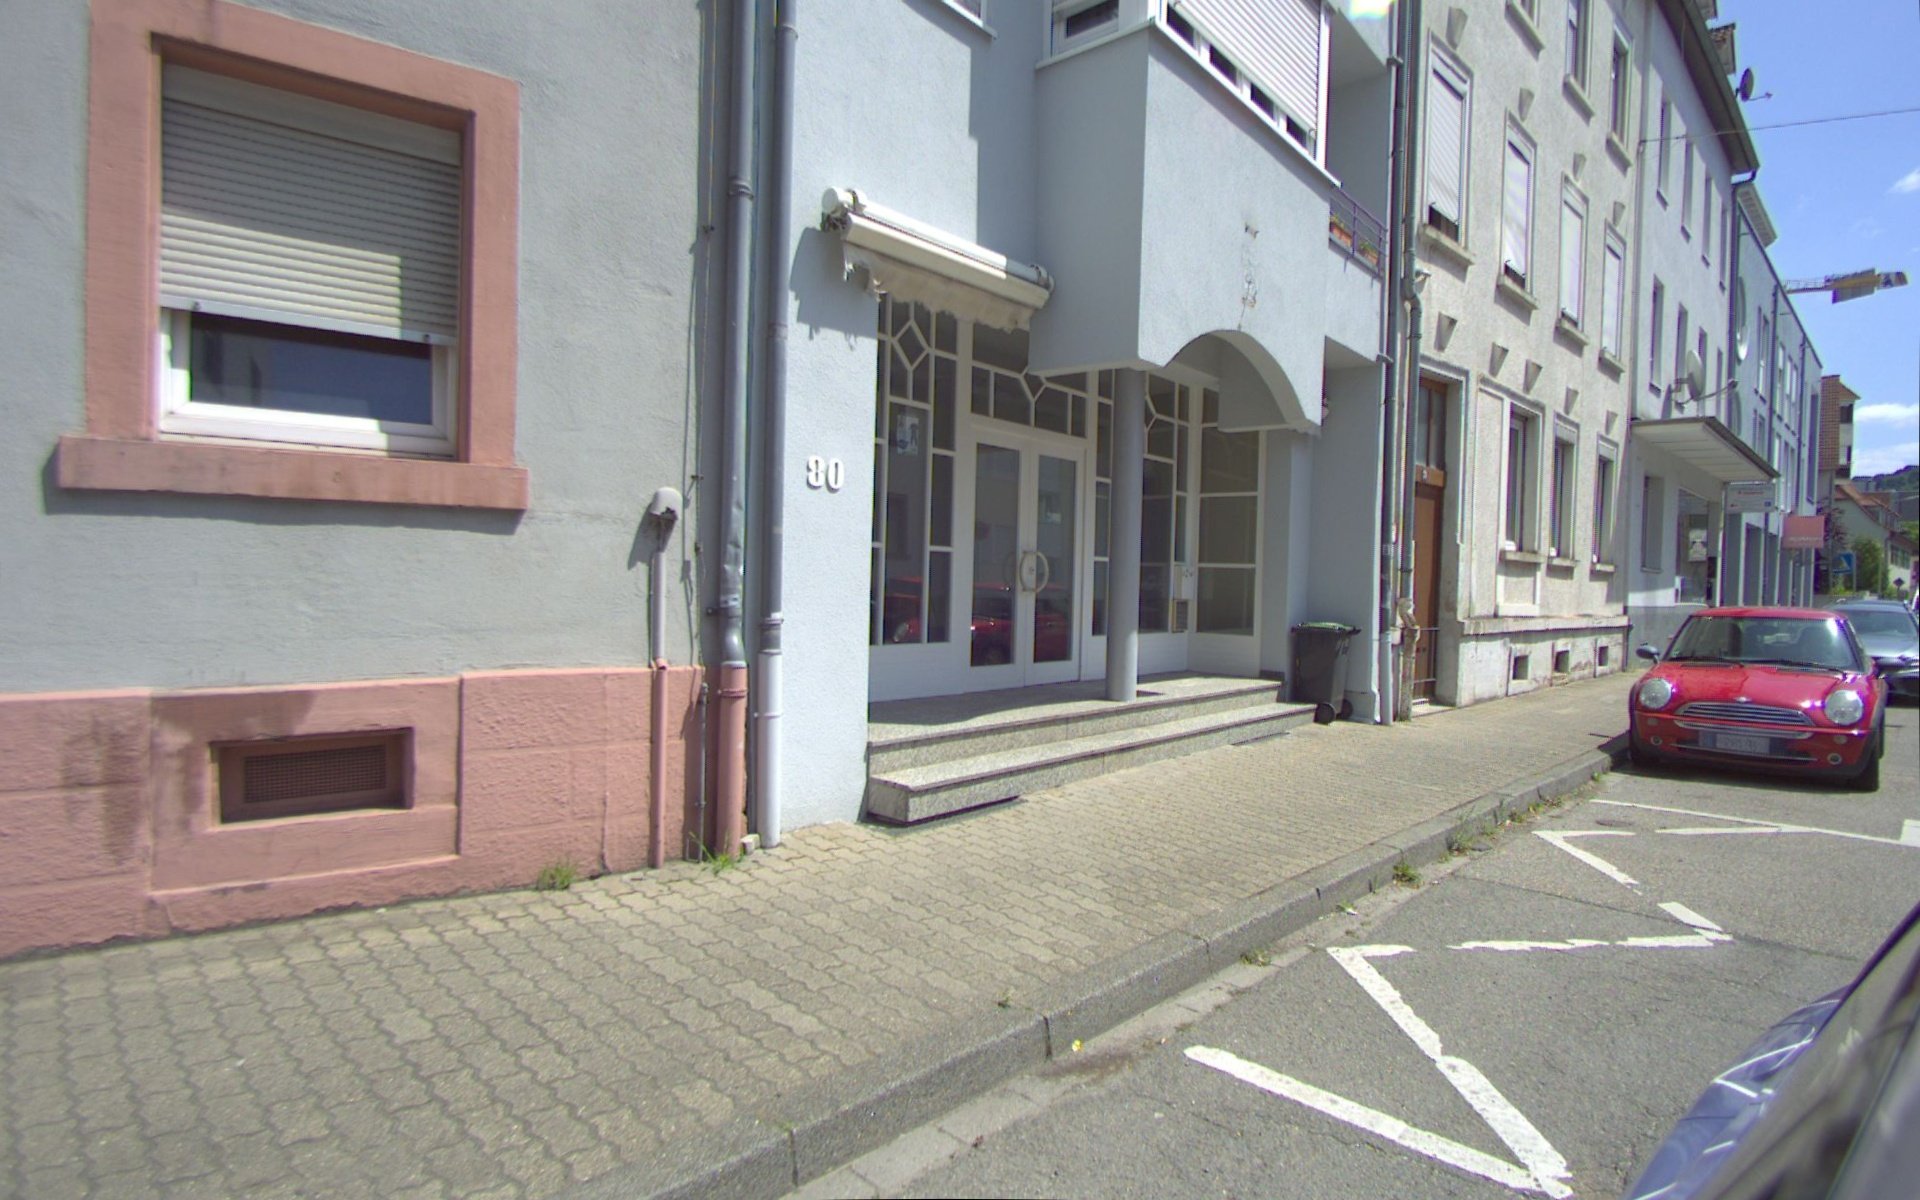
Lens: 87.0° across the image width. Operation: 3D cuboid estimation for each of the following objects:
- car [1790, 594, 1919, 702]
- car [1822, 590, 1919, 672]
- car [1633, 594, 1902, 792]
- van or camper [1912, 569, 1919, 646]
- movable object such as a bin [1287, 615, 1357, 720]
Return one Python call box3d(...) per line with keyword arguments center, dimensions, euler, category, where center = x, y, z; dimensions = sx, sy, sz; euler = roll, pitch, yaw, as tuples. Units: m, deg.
box3d(center=(14.334, 0.650, 15.859), dimensions=(1.729, 1.437, 4.474), euler=(2, 2, 43), category="car")
box3d(center=(19.264, 0.573, 21.049), dimensions=(1.711, 1.526, 3.935), euler=(2, 2, 45), category="car")
box3d(center=(7.439, 0.669, 9.208), dimensions=(1.619, 1.403, 3.483), euler=(2, 2, 43), category="car")
box3d(center=(31.415, 0.283, 31.784), dimensions=(5.060, 2.315, 1.995), euler=(1, 1, -45), category="van or camper")
box3d(center=(3.480, 0.631, 9.724), dimensions=(0.472, 0.946, 0.481), euler=(3, 2, 38), category="movable object such as a bin")
